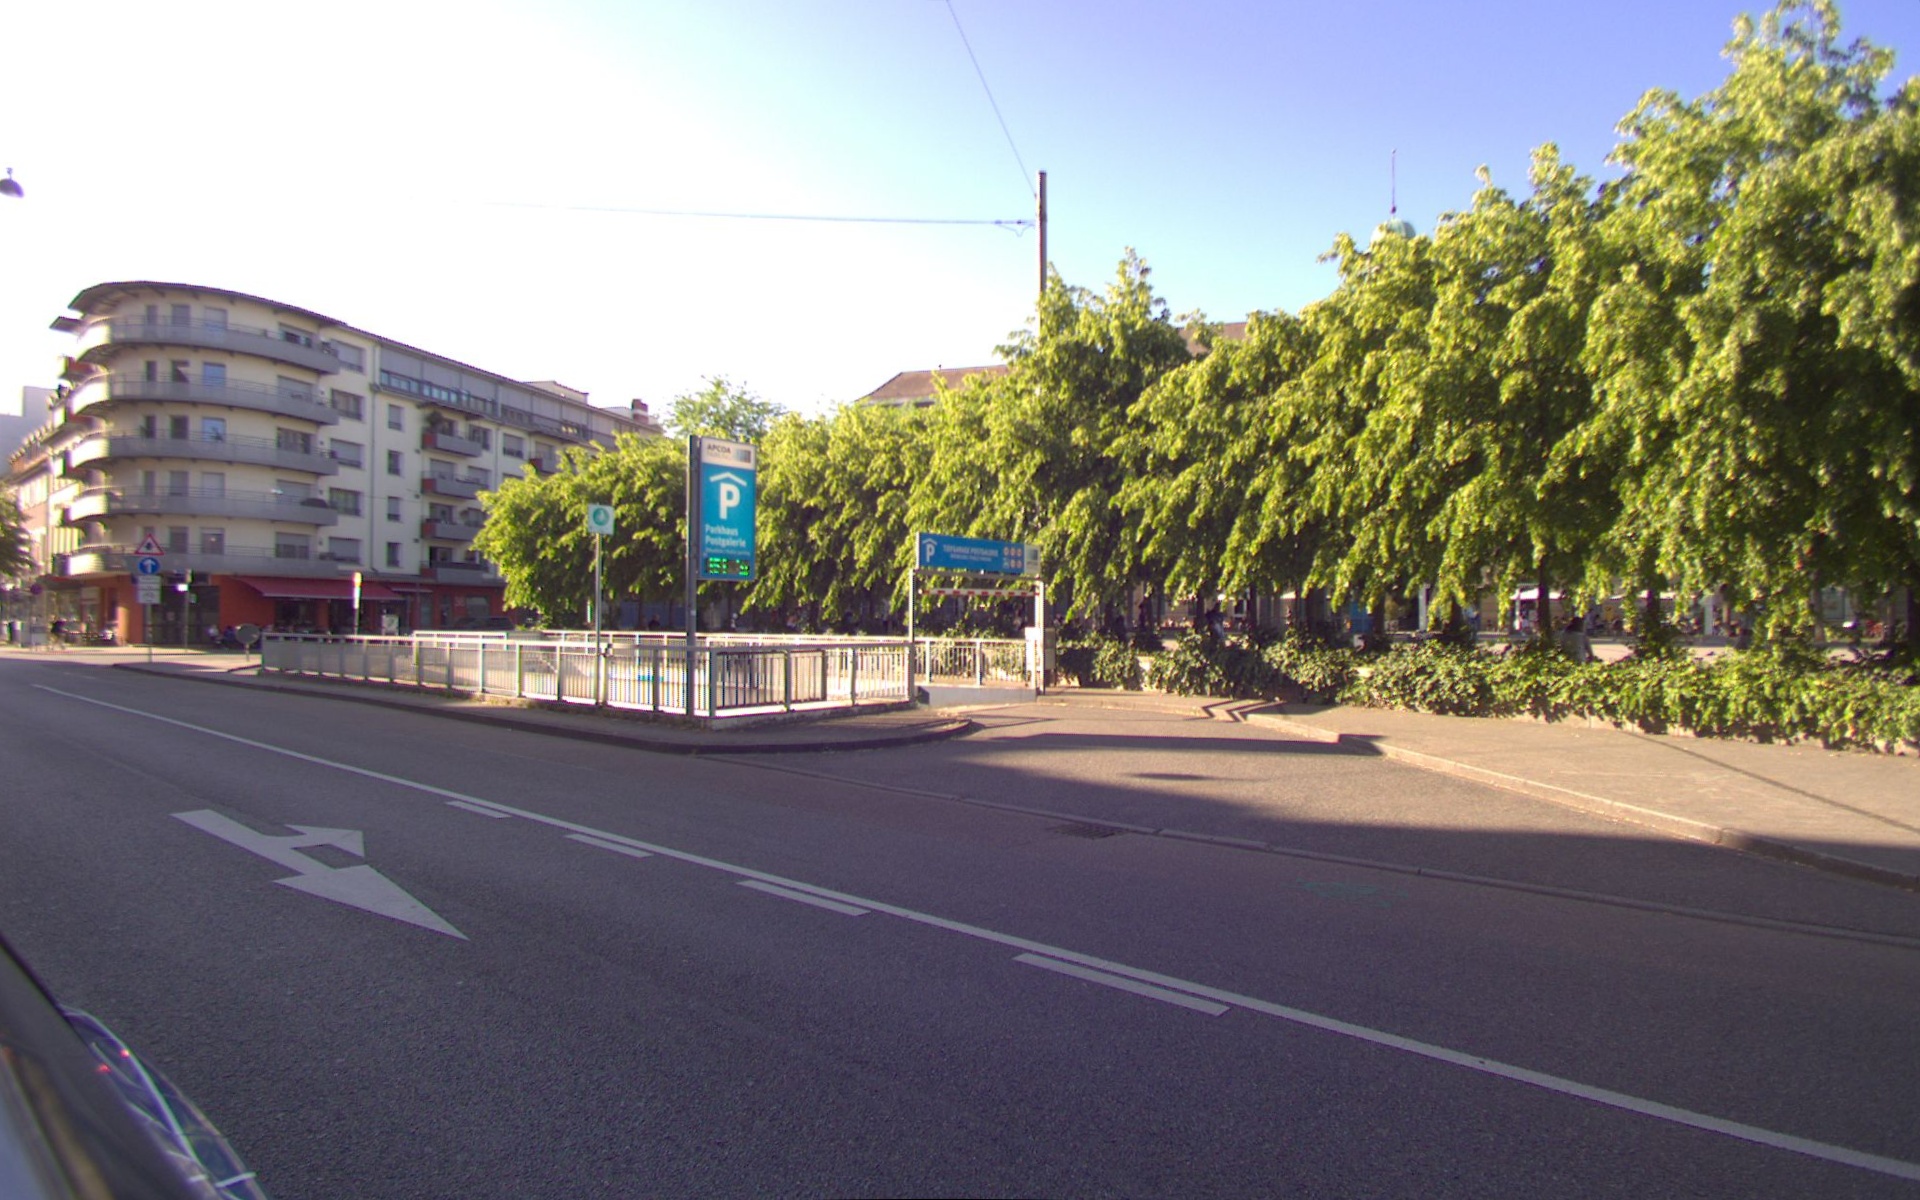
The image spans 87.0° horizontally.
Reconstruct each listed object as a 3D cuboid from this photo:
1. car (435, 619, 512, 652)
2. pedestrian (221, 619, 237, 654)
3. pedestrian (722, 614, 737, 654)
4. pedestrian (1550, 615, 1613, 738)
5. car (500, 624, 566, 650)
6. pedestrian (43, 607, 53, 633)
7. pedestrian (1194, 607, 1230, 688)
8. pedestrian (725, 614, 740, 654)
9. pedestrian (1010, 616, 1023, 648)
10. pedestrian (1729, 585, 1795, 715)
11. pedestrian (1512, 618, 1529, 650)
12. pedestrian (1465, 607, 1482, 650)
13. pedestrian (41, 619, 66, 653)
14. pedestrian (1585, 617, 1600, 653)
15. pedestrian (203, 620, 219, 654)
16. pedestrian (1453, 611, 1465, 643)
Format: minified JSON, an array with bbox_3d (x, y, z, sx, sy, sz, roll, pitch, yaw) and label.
[{"bbox_3d":[-30.439,2.200,63.412,1.938,1.927,4.403,-1,-1,16],"label":"car"},{"bbox_3d":[-36.867,1.836,51.039,0.642,1.721,0.568,-2,-2,43],"label":"pedestrian"},{"bbox_3d":[-10.688,1.575,46.952,0.574,1.806,0.602,0,0,-5],"label":"pedestrian"},{"bbox_3d":[9.788,1.172,15.939,0.732,1.870,0.574,-1,-1,44],"label":"pedestrian"},{"bbox_3d":[-28.886,2.477,68.611,1.938,1.633,4.272,-1,-1,16],"label":"car"},{"bbox_3d":[-54.155,1.194,60.083,0.515,1.541,0.371,-1,-1,37],"label":"pedestrian"},{"bbox_3d":[5.894,1.093,23.658,0.674,1.870,0.577,-1,-1,30],"label":"pedestrian"},{"bbox_3d":[-10.380,1.569,46.256,0.574,1.806,0.602,0,0,-5],"label":"pedestrian"},{"bbox_3d":[3.157,1.781,56.445,0.578,1.806,0.597,-1,0,20],"label":"pedestrian"},{"bbox_3d":[11.834,0.724,14.946,0.597,1.870,0.578,-1,0,22],"label":"pedestrian"},{"bbox_3d":[31.814,1.921,57.466,0.593,1.806,0.583,-1,0,0],"label":"pedestrian"},{"bbox_3d":[21.830,1.201,43.016,0.599,1.806,0.576,-1,-1,31],"label":"pedestrian"},{"bbox_3d":[-43.743,1.738,48.847,0.695,1.627,0.765,-1,-1,37],"label":"pedestrian"},{"bbox_3d":[32.035,1.749,51.248,0.580,1.806,0.596,-1,0,27],"label":"pedestrian"},{"bbox_3d":[-37.485,1.842,50.643,0.642,1.721,0.568,-2,-2,43],"label":"pedestrian"},{"bbox_3d":[28.873,1.569,58.572,0.598,1.806,0.577,-1,0,27],"label":"pedestrian"}]
